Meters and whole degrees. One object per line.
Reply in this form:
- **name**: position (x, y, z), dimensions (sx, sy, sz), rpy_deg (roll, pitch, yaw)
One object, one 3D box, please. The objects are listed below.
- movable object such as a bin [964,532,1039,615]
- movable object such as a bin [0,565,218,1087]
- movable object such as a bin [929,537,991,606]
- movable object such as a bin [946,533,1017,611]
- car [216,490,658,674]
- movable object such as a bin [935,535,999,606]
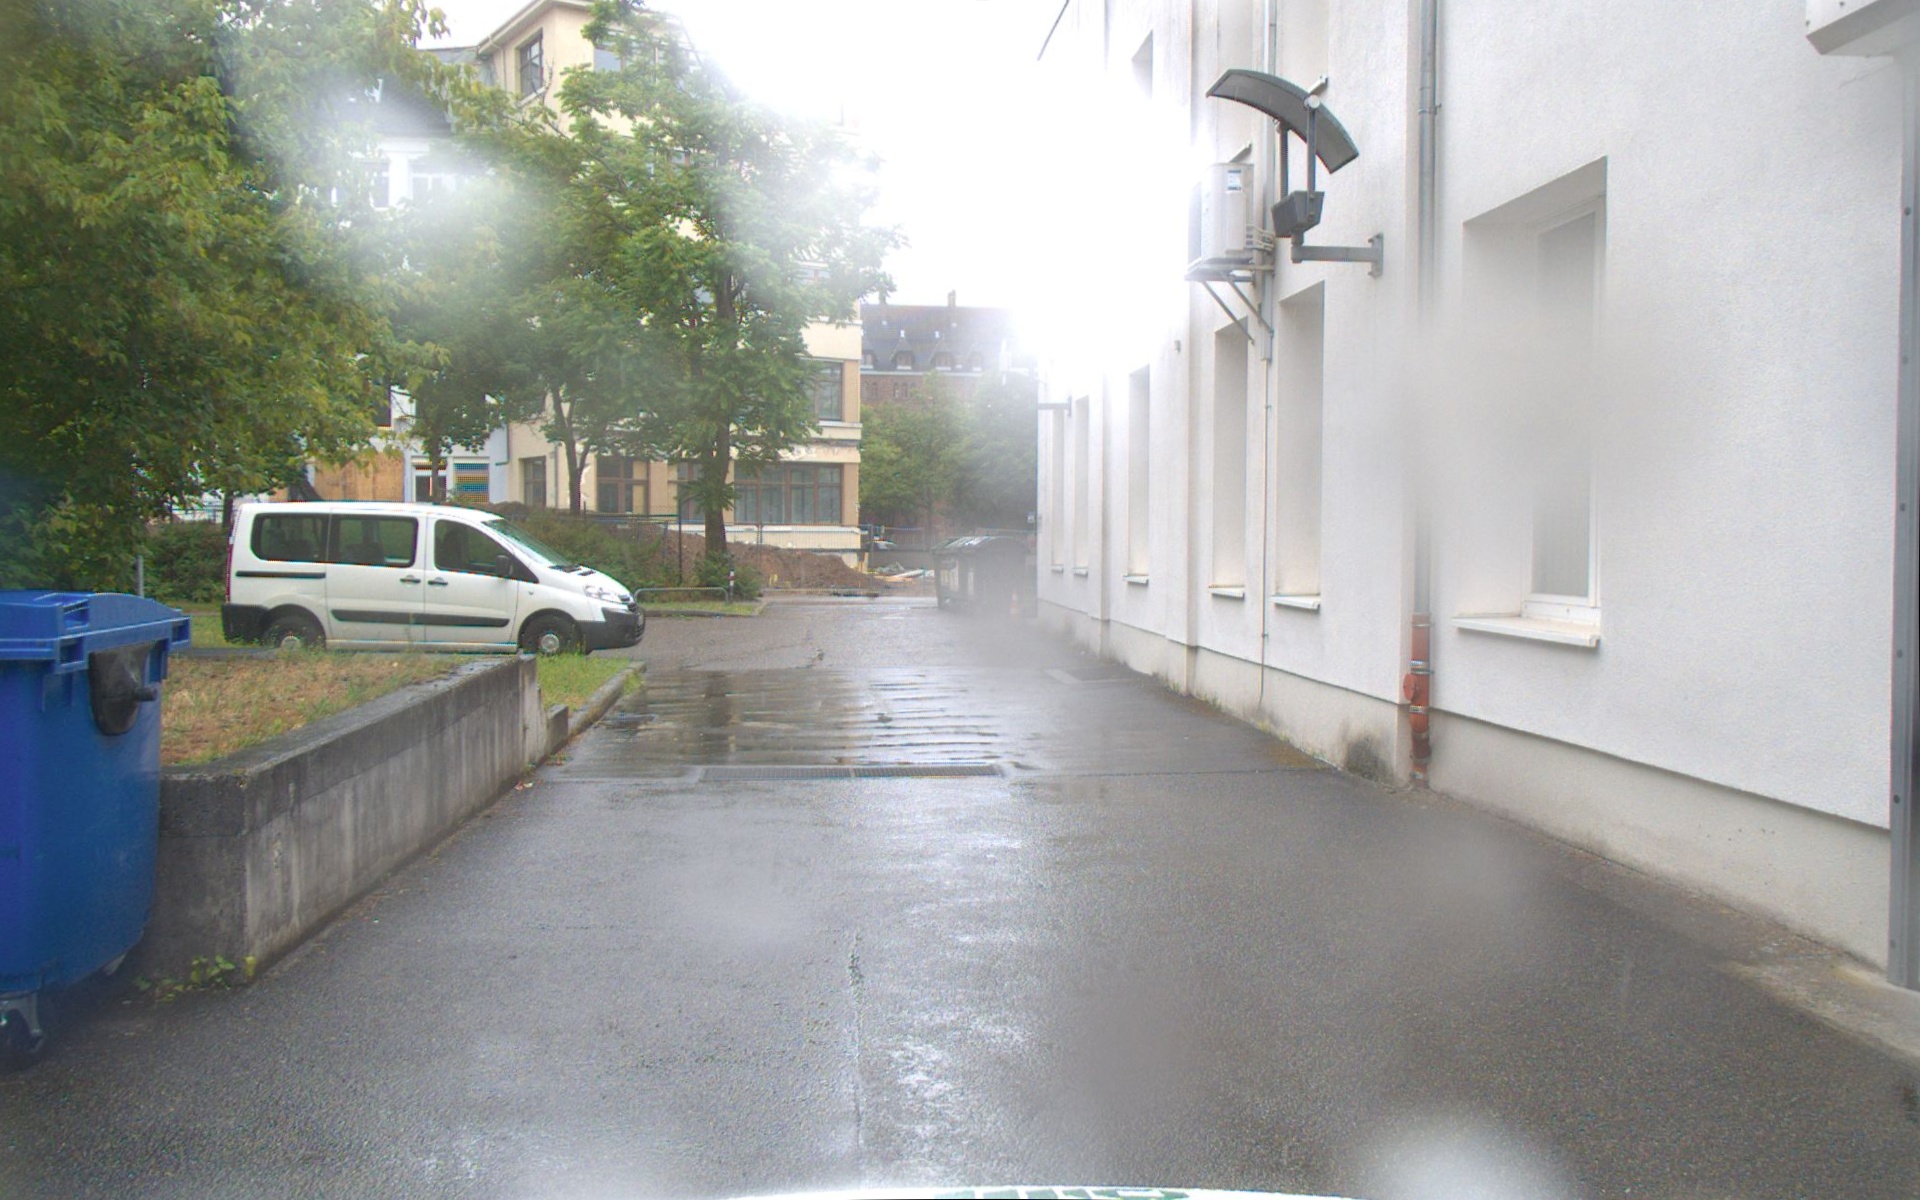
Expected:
- **movable object such as a bin**: position (0.744, -0.474, 29.996), dimensions (1.191, 1.462, 1.234), rpy_deg (0, 0, -7)
- **movable object such as a bin**: position (-2.985, 0.591, 4.841), dimensions (1.197, 1.360, 1.006), rpy_deg (0, 2, -5)
- **movable object such as a bin**: position (-0.008, -0.603, 36.024), dimensions (1.191, 1.462, 1.257), rpy_deg (0, 0, -7)
- **movable object such as a bin**: position (0.400, -0.527, 31.659), dimensions (1.191, 1.462, 1.292), rpy_deg (0, 0, -7)
- **car**: position (-6.130, -0.261, 19.901), dimensions (4.686, 2.048, 1.999), rpy_deg (-1, 3, -5)
- **movable object such as a bin**: position (0.140, -0.604, 34.654), dimensions (1.191, 1.462, 1.257), rpy_deg (0, 0, -7)
